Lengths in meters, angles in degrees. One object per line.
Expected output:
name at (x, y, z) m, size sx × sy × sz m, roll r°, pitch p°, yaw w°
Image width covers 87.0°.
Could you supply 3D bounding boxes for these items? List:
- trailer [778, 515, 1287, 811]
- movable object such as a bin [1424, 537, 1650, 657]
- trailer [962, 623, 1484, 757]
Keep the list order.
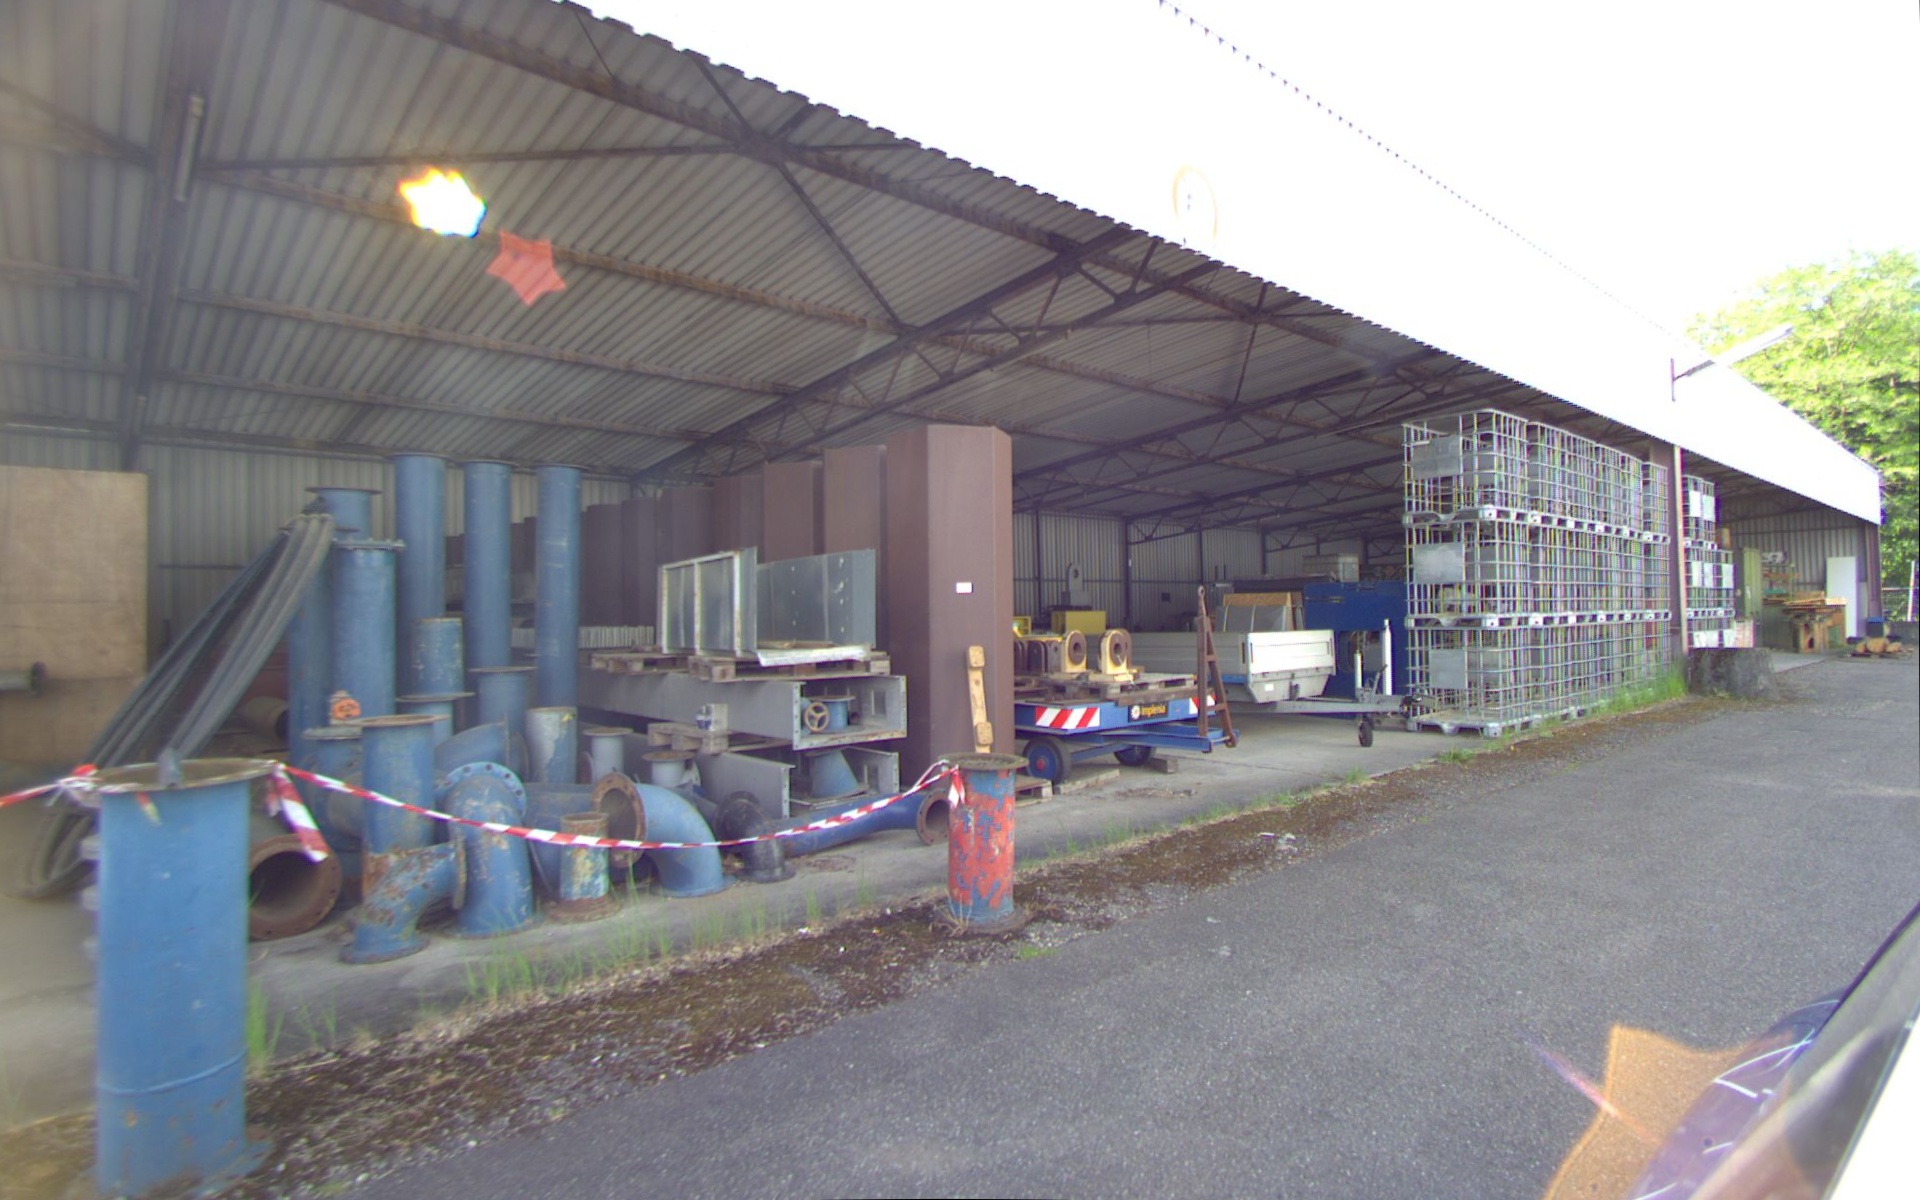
trailer at (0.359, 0.419, 9.453) m, size 2.010 × 2.022 × 4.828 m, roll -1°, pitch 0°, yaw -39°
movable object such as a bin at (14.493, -0.052, 25.632) m, size 1.966 × 2.757 × 4.619 m, roll 2°, pitch -1°, yaw -43°
trailer at (2.683, 0.857, 11.769) m, size 1.975 × 1.147 × 5.739 m, roll 0°, pitch -1°, yaw -43°
